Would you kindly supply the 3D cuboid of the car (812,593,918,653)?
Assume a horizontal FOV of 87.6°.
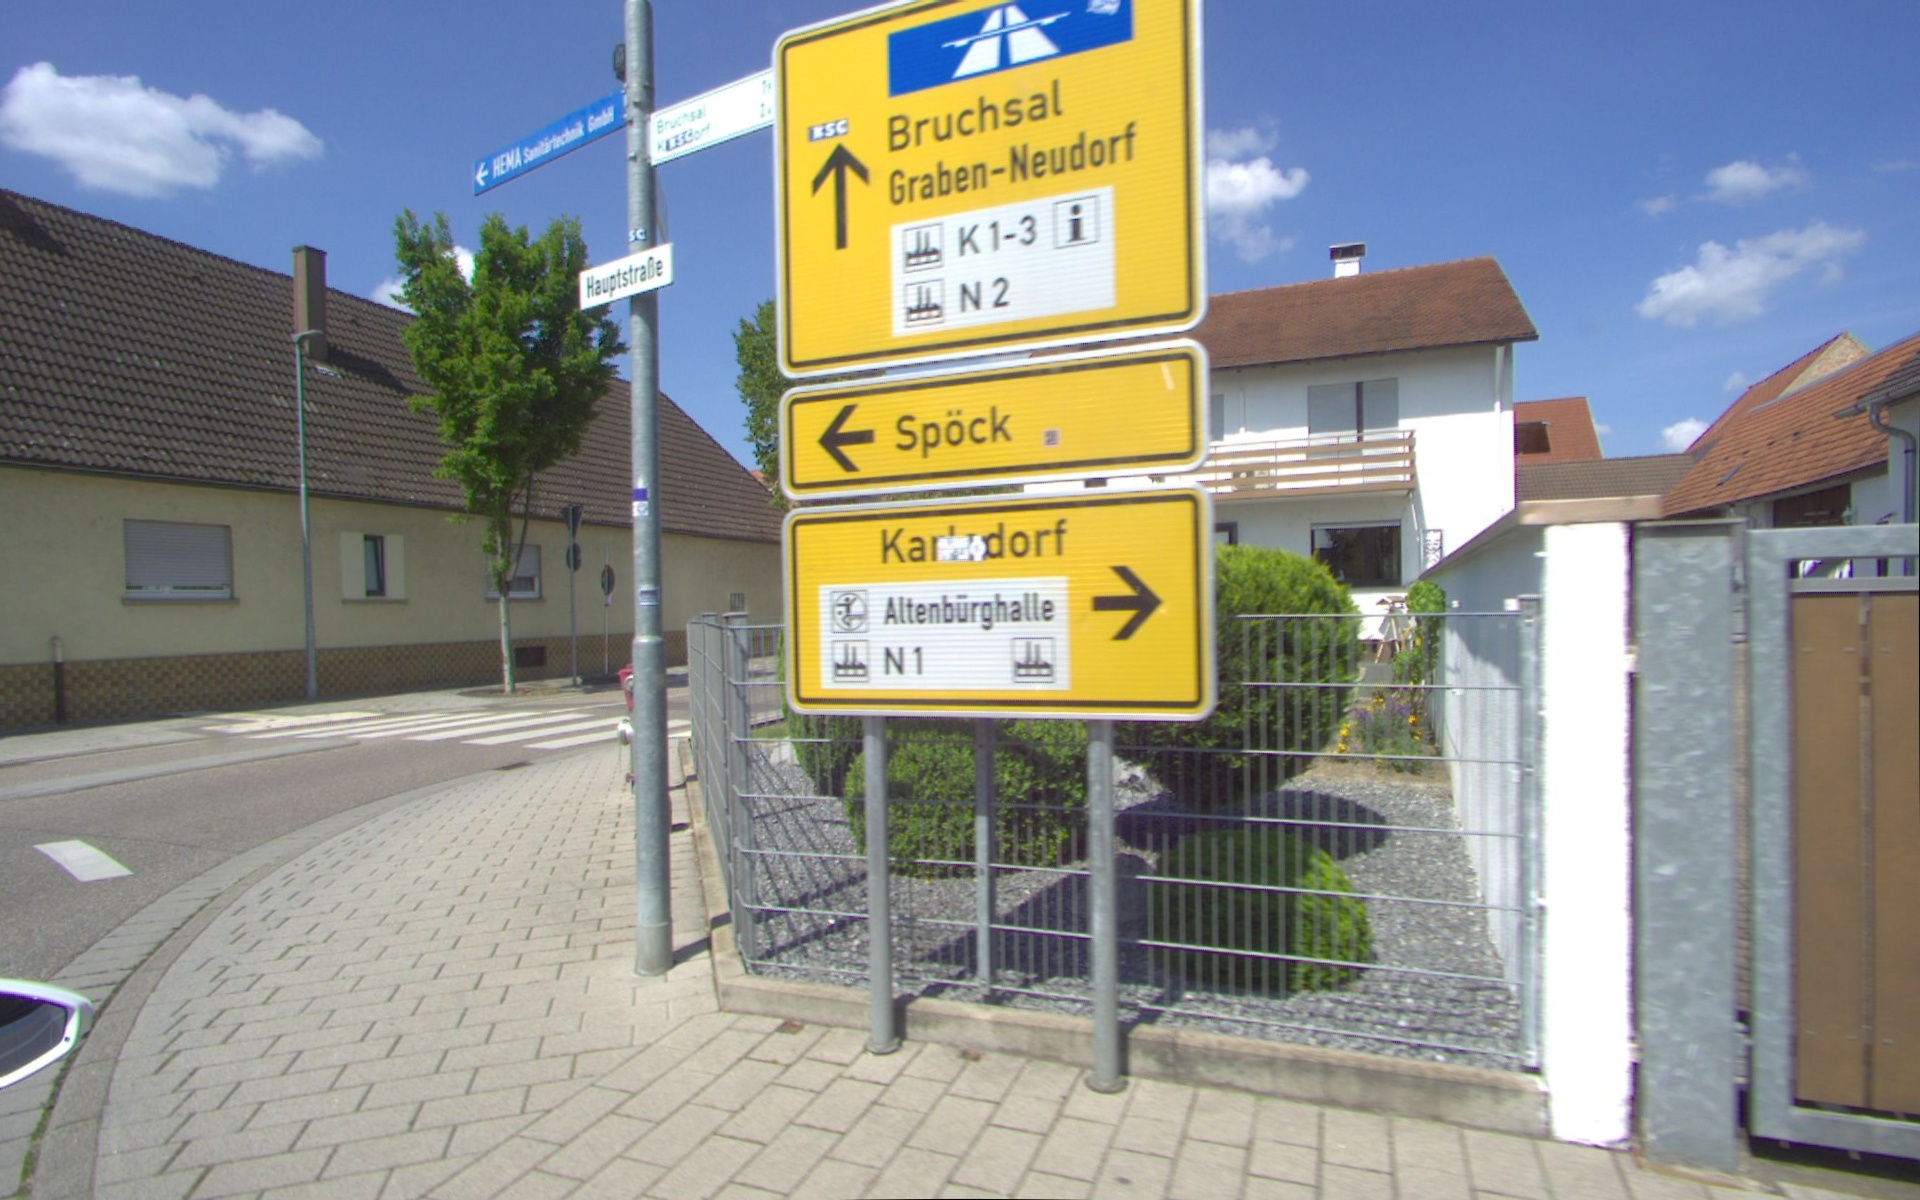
[{"bbox_3d":[-3.249,0.765,35.186,1.965,1.964,4.468,0,0,20],"label":"car"}]
